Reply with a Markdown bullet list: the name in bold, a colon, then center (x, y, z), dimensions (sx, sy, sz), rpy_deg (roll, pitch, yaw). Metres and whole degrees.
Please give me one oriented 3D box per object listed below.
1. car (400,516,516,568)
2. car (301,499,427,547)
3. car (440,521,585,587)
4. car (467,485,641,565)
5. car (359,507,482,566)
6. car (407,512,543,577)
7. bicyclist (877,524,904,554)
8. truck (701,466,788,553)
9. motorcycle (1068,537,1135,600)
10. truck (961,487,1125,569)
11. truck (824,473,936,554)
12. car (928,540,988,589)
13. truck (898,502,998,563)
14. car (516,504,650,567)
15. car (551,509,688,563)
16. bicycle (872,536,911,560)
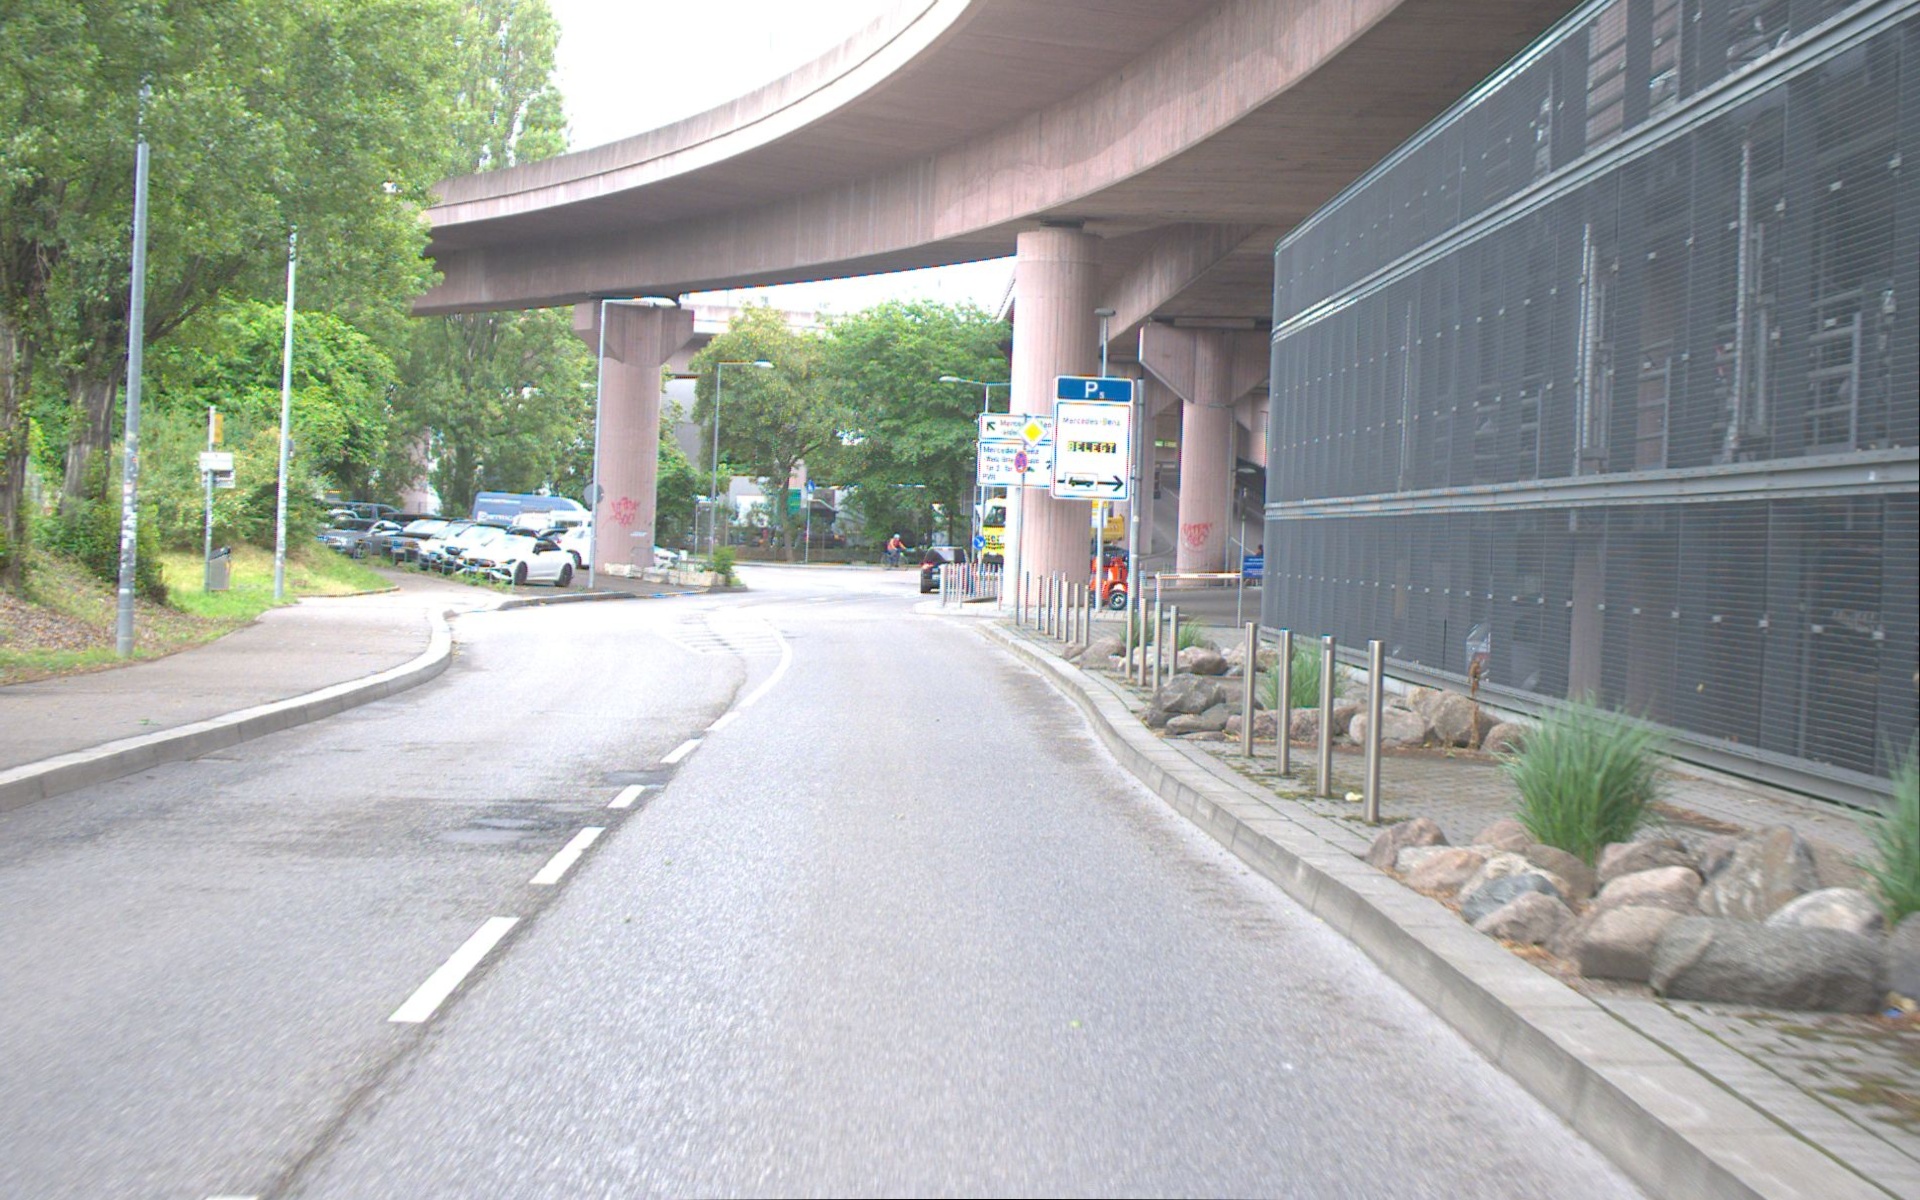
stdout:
- **car**: center (-15.363, -1.761, 105.372), dimensions (1.789, 1.449, 3.742), rpy_deg (3, 1, 22)
- **car**: center (-20.515, -2.652, 118.461), dimensions (1.859, 1.482, 4.883), rpy_deg (5, 2, 23)
- **car**: center (-12.680, -1.301, 97.737), dimensions (1.996, 1.474, 4.823), rpy_deg (6, 0, 19)
- **car**: center (-15.471, -2.858, 131.134), dimensions (6.175, 2.715, 2.368), rpy_deg (3, 1, 2)
- **car**: center (-16.919, -1.976, 108.038), dimensions (1.859, 1.685, 4.159), rpy_deg (3, 1, 23)
- **car**: center (-14.330, -1.633, 101.848), dimensions (1.996, 1.577, 4.395), rpy_deg (7, 1, 20)
- **bicyclist**: center (-3.218, -2.830, 158.878), dimensions (0.796, 1.400, 1.066), rpy_deg (0, 1, -32)
- **truck**: center (-12.643, -5.343, 201.269), dimensions (3.202, 4.763, 8.052), rpy_deg (1, 3, -17)
- **motorcycle**: center (3.183, -0.728, 77.471), dimensions (0.795, 1.362, 2.130), rpy_deg (0, 2, -18)
- **truck**: center (3.914, -3.382, 160.142), dimensions (2.934, 3.469, 8.225), rpy_deg (7, 6, 41)
- **truck**: center (-4.172, -4.485, 177.121), dimensions (3.065, 3.854, 8.051), rpy_deg (0, 3, -22)
- **car**: center (-0.104, -1.324, 127.056), dimensions (1.993, 1.673, 4.561), rpy_deg (2, 1, -2)
- **truck**: center (-0.635, -3.532, 178.531), dimensions (2.914, 2.889, 6.561), rpy_deg (0, 3, -22)
- **car**: center (-14.055, -2.395, 128.250), dimensions (4.557, 2.104, 1.850), rpy_deg (3, 1, 7)
- **car**: center (-12.119, -2.281, 122.370), dimensions (4.383, 1.600, 1.953), rpy_deg (5, 2, 12)
- **bicycle**: center (-3.185, -2.411, 158.815), dimensions (0.802, 1.094, 2.131), rpy_deg (0, 1, -32)
